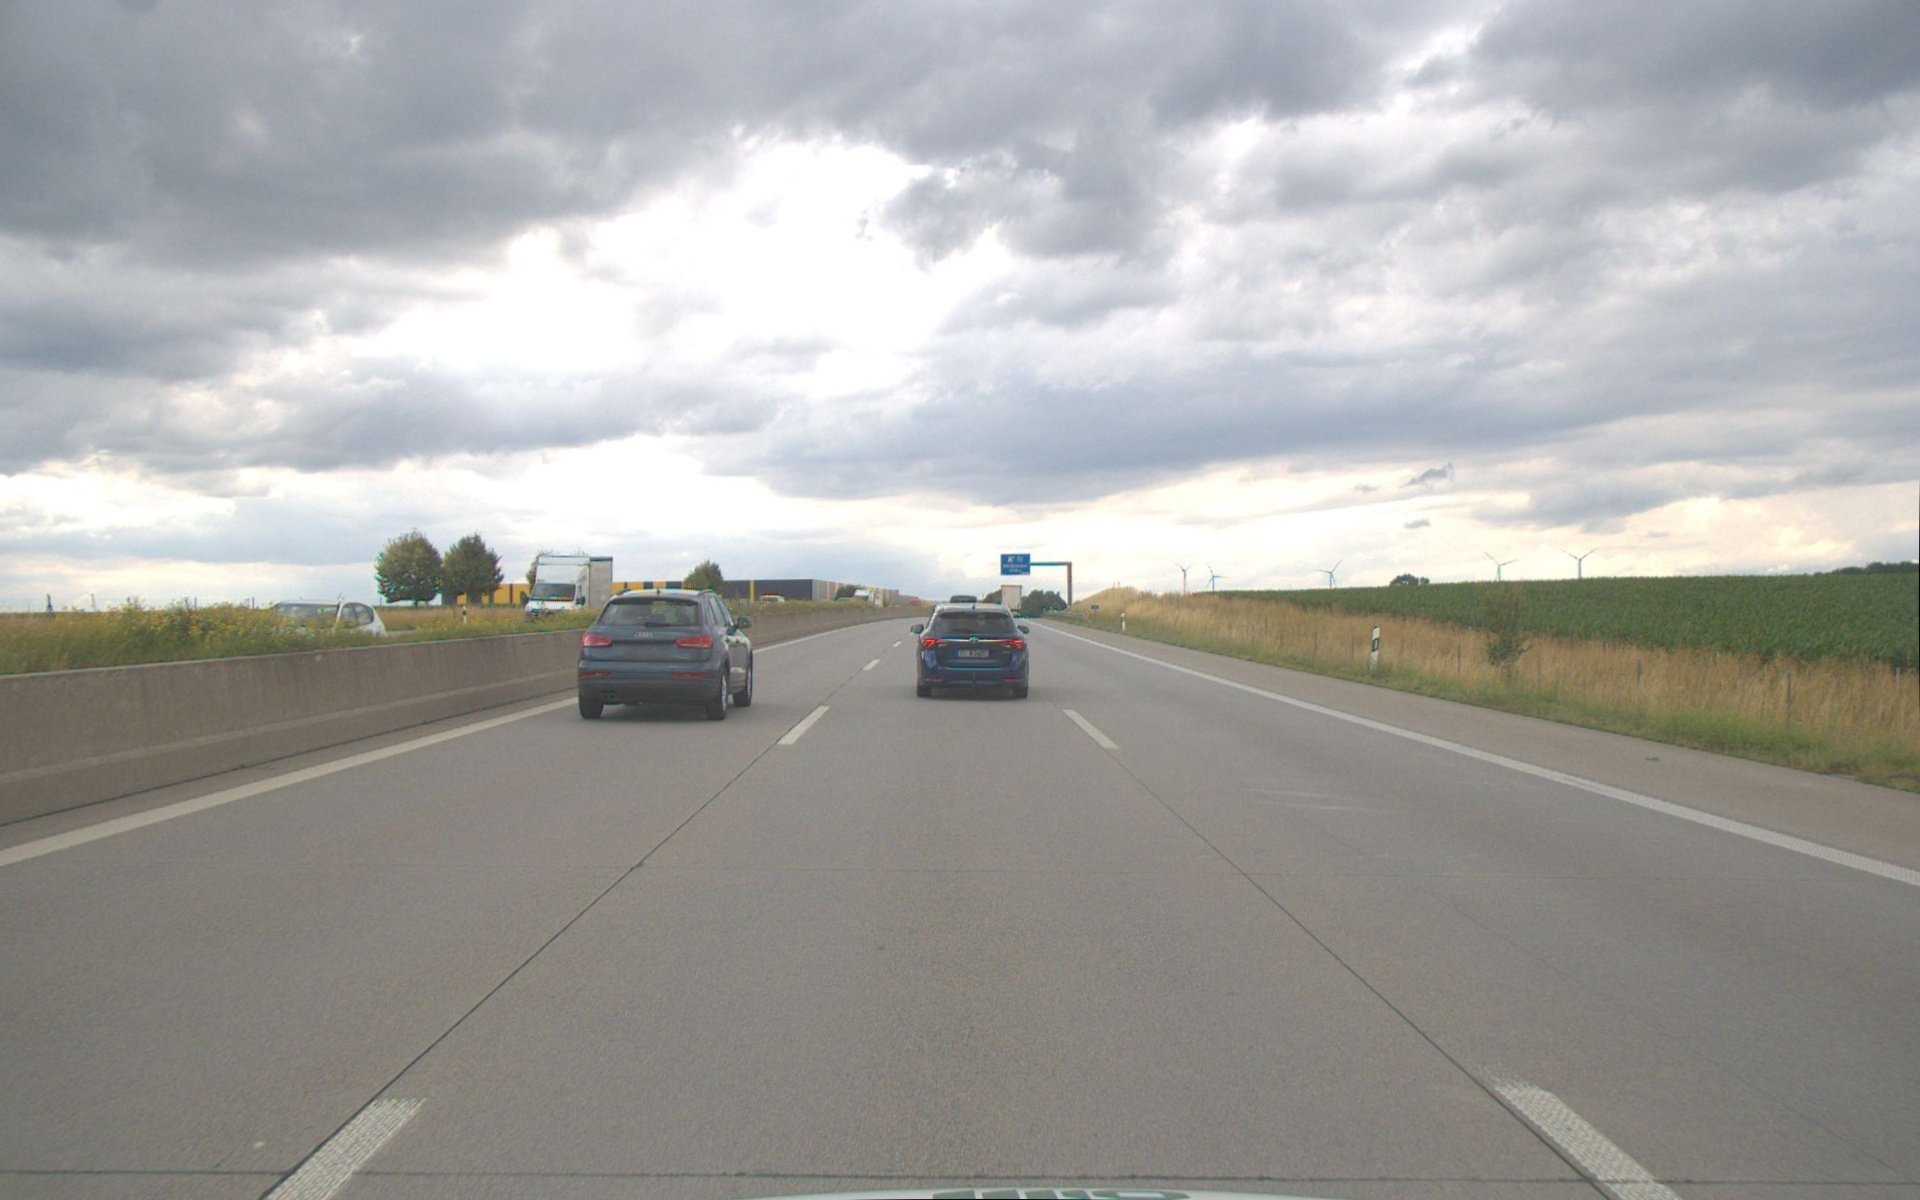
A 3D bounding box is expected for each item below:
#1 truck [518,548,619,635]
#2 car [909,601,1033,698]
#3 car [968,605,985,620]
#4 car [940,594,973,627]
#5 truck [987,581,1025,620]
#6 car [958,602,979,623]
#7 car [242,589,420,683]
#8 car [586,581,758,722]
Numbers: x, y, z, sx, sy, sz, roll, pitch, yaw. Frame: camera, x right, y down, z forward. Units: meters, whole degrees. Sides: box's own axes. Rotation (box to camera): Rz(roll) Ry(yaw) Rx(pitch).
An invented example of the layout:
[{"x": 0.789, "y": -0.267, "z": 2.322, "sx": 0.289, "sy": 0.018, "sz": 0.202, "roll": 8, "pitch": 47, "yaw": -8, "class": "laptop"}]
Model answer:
[{"x": -16.202, "y": -0.297, "z": 68.907, "sx": 2.309, "sy": 3.386, "sz": 7.297, "roll": 1, "pitch": -1, "yaw": 1, "class": "truck"}, {"x": 0.100, "y": 0.753, "z": 26.666, "sx": 1.739, "sy": 1.438, "sz": 3.997, "roll": 0, "pitch": 0, "yaw": -3, "class": "car"}, {"x": 2.214, "y": 1.710, "z": 222.387, "sx": 1.954, "sy": 2.049, "sz": 3.997, "roll": 1, "pitch": -1, "yaw": -3, "class": "car"}, {"x": -0.247, "y": 0.675, "z": 106.767, "sx": 1.953, "sy": 2.049, "sz": 3.998, "roll": 1, "pitch": -1, "yaw": -2, "class": "car"}, {"x": 5.881, "y": 0.092, "z": 213.473, "sx": 3.872, "sy": 4.839, "sz": 12.067, "roll": 1, "pitch": -1, "yaw": -3, "class": "truck"}, {"x": 0.908, "y": 1.304, "z": 174.732, "sx": 1.953, "sy": 2.049, "sz": 3.998, "roll": 2, "pitch": 0, "yaw": -2, "class": "car"}, {"x": -11.989, "y": 0.677, "z": 31.790, "sx": 1.885, "sy": 1.664, "sz": 3.999, "roll": 1, "pitch": -1, "yaw": -1, "class": "car"}, {"x": -3.675, "y": 0.599, "z": 21.889, "sx": 1.758, "sy": 1.624, "sz": 5.152, "roll": 1, "pitch": 0, "yaw": -5, "class": "car"}]
